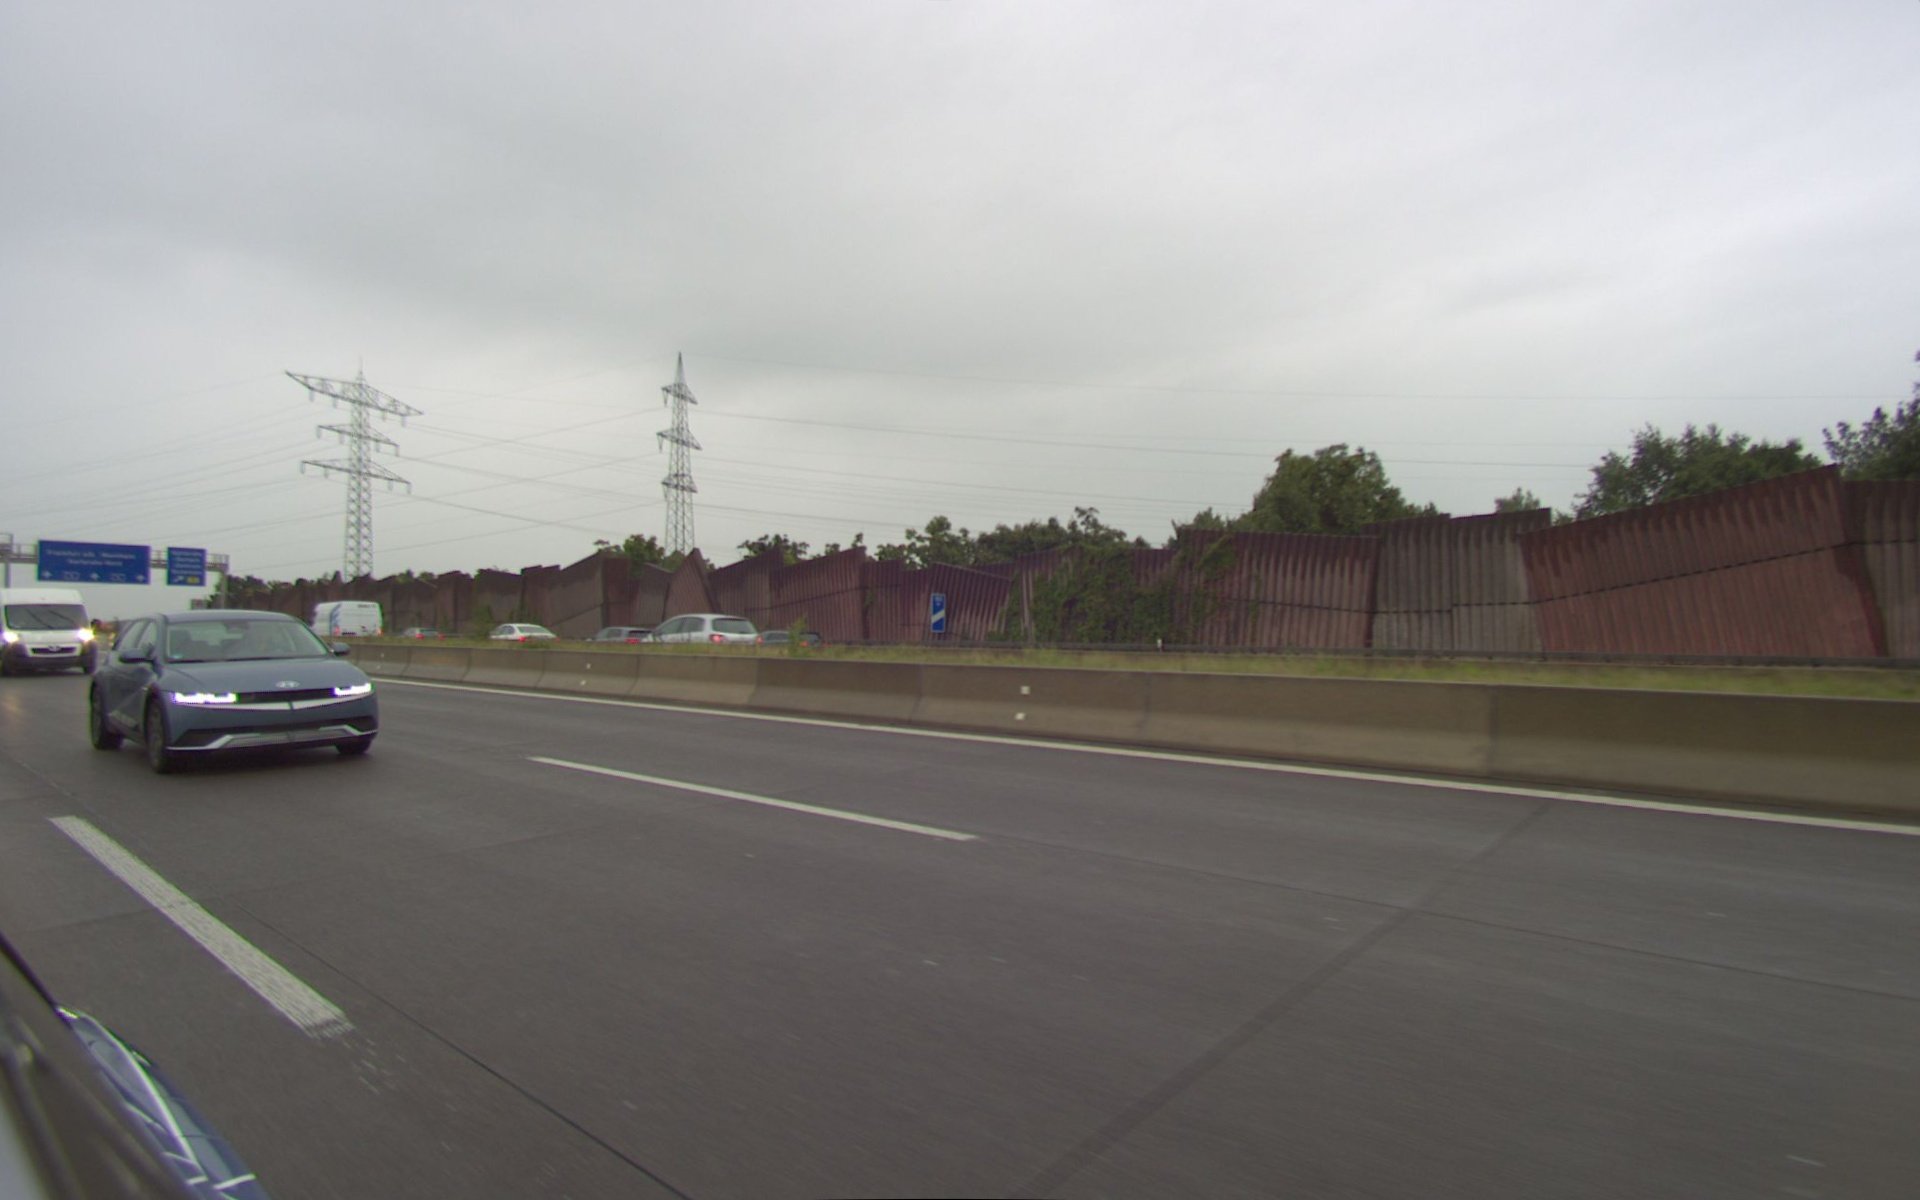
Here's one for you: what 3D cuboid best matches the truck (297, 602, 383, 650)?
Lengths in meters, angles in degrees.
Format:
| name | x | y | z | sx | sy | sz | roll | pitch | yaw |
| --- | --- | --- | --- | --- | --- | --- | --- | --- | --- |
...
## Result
| name | x | y | z | sx | sy | sz | roll | pitch | yaw |
| --- | --- | --- | --- | --- | --- | --- | --- | --- | --- |
| truck | -30.094 | 1.232 | 49.071 | 5.417 | 2.222 | 2.122 | -1 | -1 | 42 |

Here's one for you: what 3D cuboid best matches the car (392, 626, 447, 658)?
| name | x | y | z | sx | sy | sz | roll | pitch | yaw |
| --- | --- | --- | --- | --- | --- | --- | --- | --- | --- |
| car | -35.561 | 2.726 | 66.580 | 3.999 | 2.029 | 1.972 | -1 | -1 | 42 |

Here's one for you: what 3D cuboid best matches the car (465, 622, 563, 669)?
| name | x | y | z | sx | sy | sz | roll | pitch | yaw |
| --- | --- | --- | --- | --- | --- | --- | --- | --- | --- |
| car | -18.116 | 1.803 | 41.033 | 4.465 | 1.752 | 1.972 | -1 | -1 | 42 |

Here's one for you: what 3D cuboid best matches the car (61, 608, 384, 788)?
| name | x | y | z | sx | sy | sz | roll | pitch | yaw |
| --- | --- | --- | --- | --- | --- | --- | --- | --- | --- |
| car | -8.490 | 0.923 | 11.438 | 5.152 | 1.606 | 1.820 | -1 | -1 | 41 |

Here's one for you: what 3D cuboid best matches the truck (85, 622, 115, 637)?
| name | x | y | z | sx | sy | sz | roll | pitch | yaw |
| --- | --- | --- | --- | --- | --- | --- | --- | --- | --- |
| truck | -100.455 | 3.448 | 118.187 | 5.015 | 1.753 | 1.972 | -1 | -1 | 42 |

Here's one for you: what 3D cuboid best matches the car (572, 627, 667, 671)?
| name | x | y | z | sx | sy | sz | roll | pitch | yaw |
| --- | --- | --- | --- | --- | --- | --- | --- | --- | --- |
| car | -14.451 | 2.026 | 42.834 | 4.263 | 1.752 | 1.972 | -1 | -1 | 42 |

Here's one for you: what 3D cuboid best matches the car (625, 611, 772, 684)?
| name | x | y | z | sx | sy | sz | roll | pitch | yaw |
| --- | --- | --- | --- | --- | --- | --- | --- | --- | --- |
| car | -6.902 | 1.201 | 26.547 | 3.999 | 1.752 | 1.834 | -1 | -1 | 42 |

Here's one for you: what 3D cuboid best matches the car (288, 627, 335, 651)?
| name | x | y | z | sx | sy | sz | roll | pitch | yaw |
| --- | --- | --- | --- | --- | --- | --- | --- | --- | --- |
| car | -51.182 | 3.056 | 79.833 | 4.287 | 1.798 | 1.973 | -1 | -1 | 40 |

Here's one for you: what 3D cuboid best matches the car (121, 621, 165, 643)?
| name | x | y | z | sx | sy | sz | roll | pitch | yaw |
| --- | --- | --- | --- | --- | --- | --- | --- | --- | --- |
| car | -69.684 | 2.727 | 86.310 | 5.206 | 1.798 | 1.973 | -1 | -1 | 41 |

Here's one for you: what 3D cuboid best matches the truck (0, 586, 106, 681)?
| name | x | y | z | sx | sy | sz | roll | pitch | yaw |
| --- | --- | --- | --- | --- | --- | --- | --- | --- | --- |
| truck | -27.017 | 0.928 | 29.388 | 6.576 | 2.498 | 2.215 | -1 | 0 | 39 |
